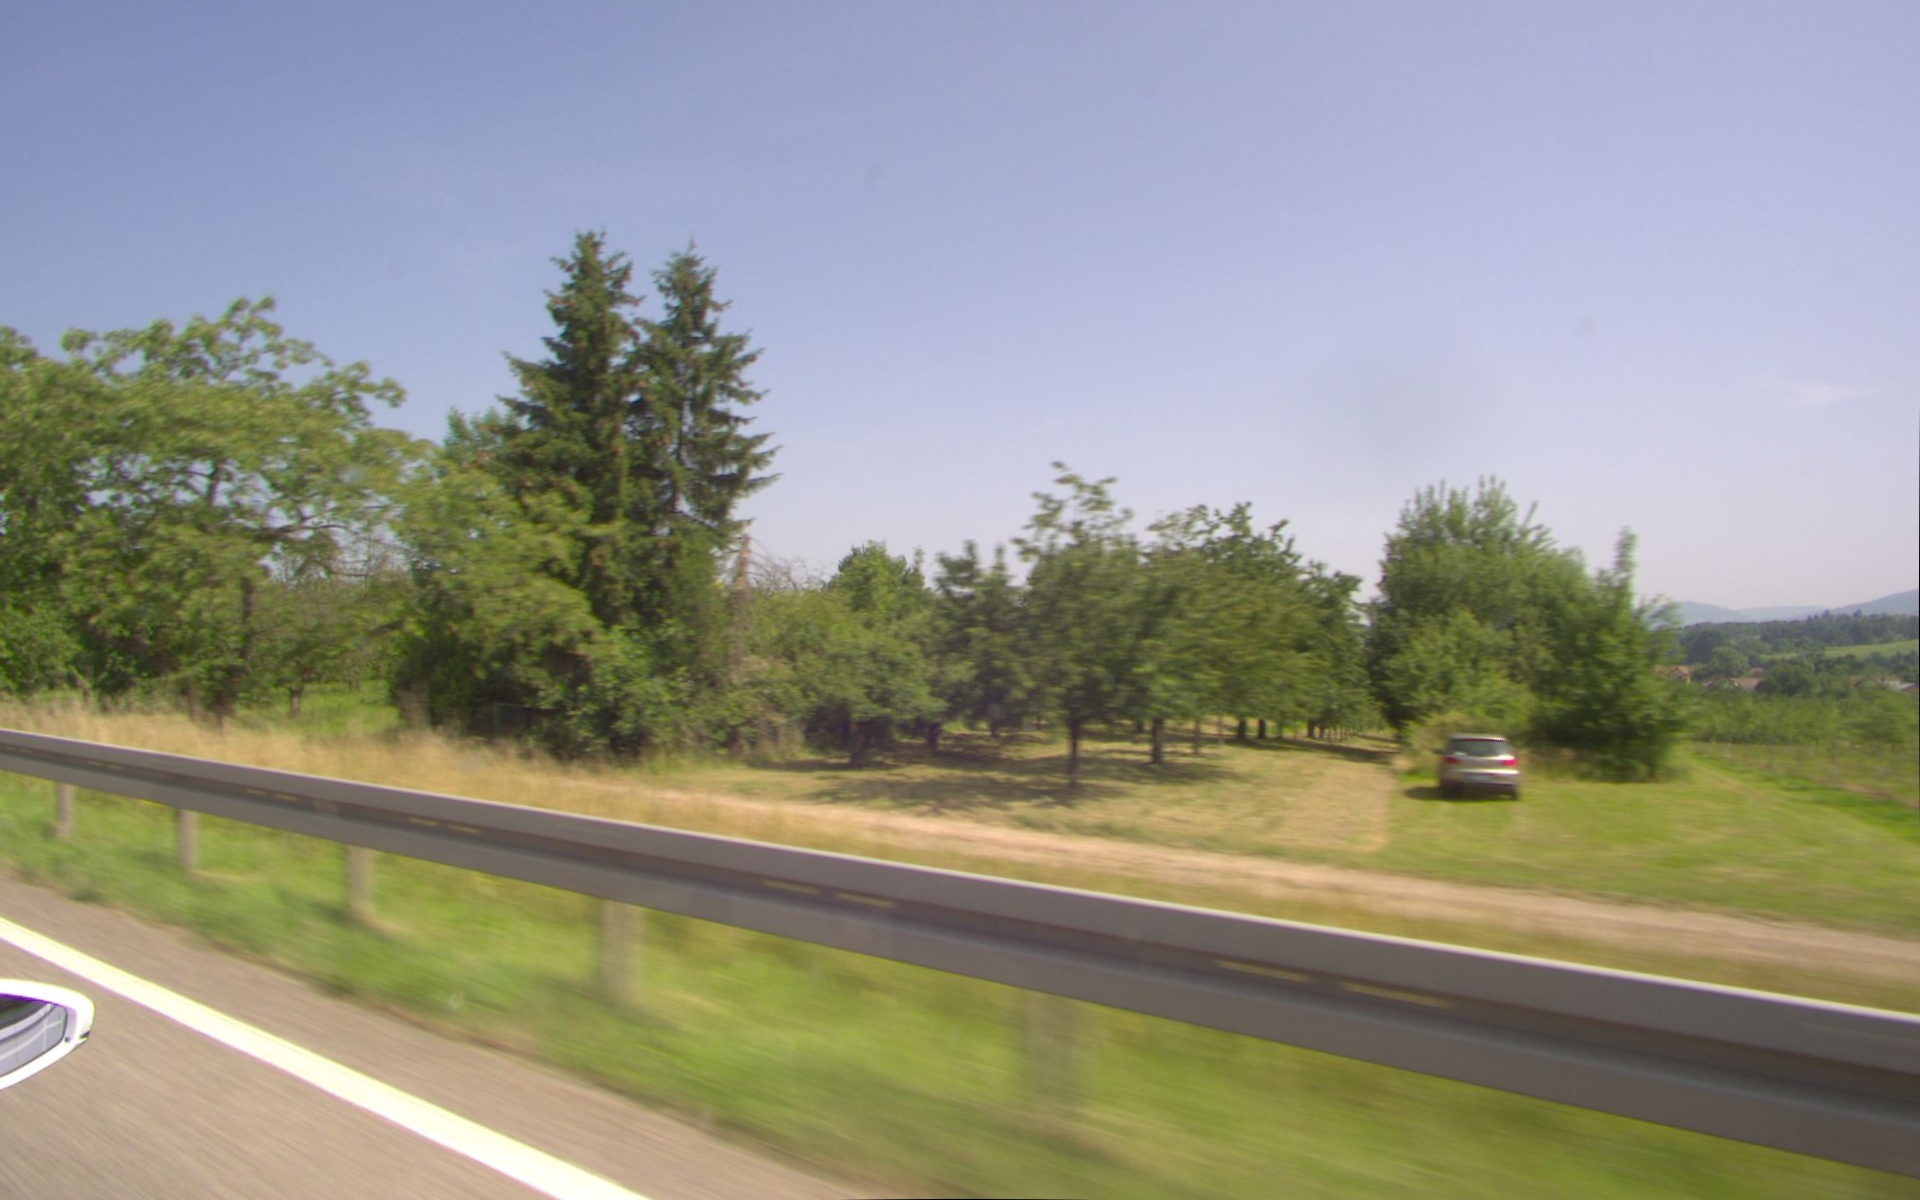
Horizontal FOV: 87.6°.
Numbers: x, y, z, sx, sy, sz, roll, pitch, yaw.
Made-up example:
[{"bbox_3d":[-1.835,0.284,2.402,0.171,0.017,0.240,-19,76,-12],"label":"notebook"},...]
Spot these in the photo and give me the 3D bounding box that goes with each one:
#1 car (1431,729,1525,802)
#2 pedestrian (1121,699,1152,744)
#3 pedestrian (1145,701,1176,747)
[{"bbox_3d":[13.357,4.220,26.029,1.826,1.552,4.087,-1,-5,23],"label":"car"},{"bbox_3d":[6.722,4.605,38.073,0.929,1.668,0.780,-3,-4,30],"label":"pedestrian"},{"bbox_3d":[7.508,4.620,37.502,0.929,1.668,0.780,-3,-4,30],"label":"pedestrian"}]
